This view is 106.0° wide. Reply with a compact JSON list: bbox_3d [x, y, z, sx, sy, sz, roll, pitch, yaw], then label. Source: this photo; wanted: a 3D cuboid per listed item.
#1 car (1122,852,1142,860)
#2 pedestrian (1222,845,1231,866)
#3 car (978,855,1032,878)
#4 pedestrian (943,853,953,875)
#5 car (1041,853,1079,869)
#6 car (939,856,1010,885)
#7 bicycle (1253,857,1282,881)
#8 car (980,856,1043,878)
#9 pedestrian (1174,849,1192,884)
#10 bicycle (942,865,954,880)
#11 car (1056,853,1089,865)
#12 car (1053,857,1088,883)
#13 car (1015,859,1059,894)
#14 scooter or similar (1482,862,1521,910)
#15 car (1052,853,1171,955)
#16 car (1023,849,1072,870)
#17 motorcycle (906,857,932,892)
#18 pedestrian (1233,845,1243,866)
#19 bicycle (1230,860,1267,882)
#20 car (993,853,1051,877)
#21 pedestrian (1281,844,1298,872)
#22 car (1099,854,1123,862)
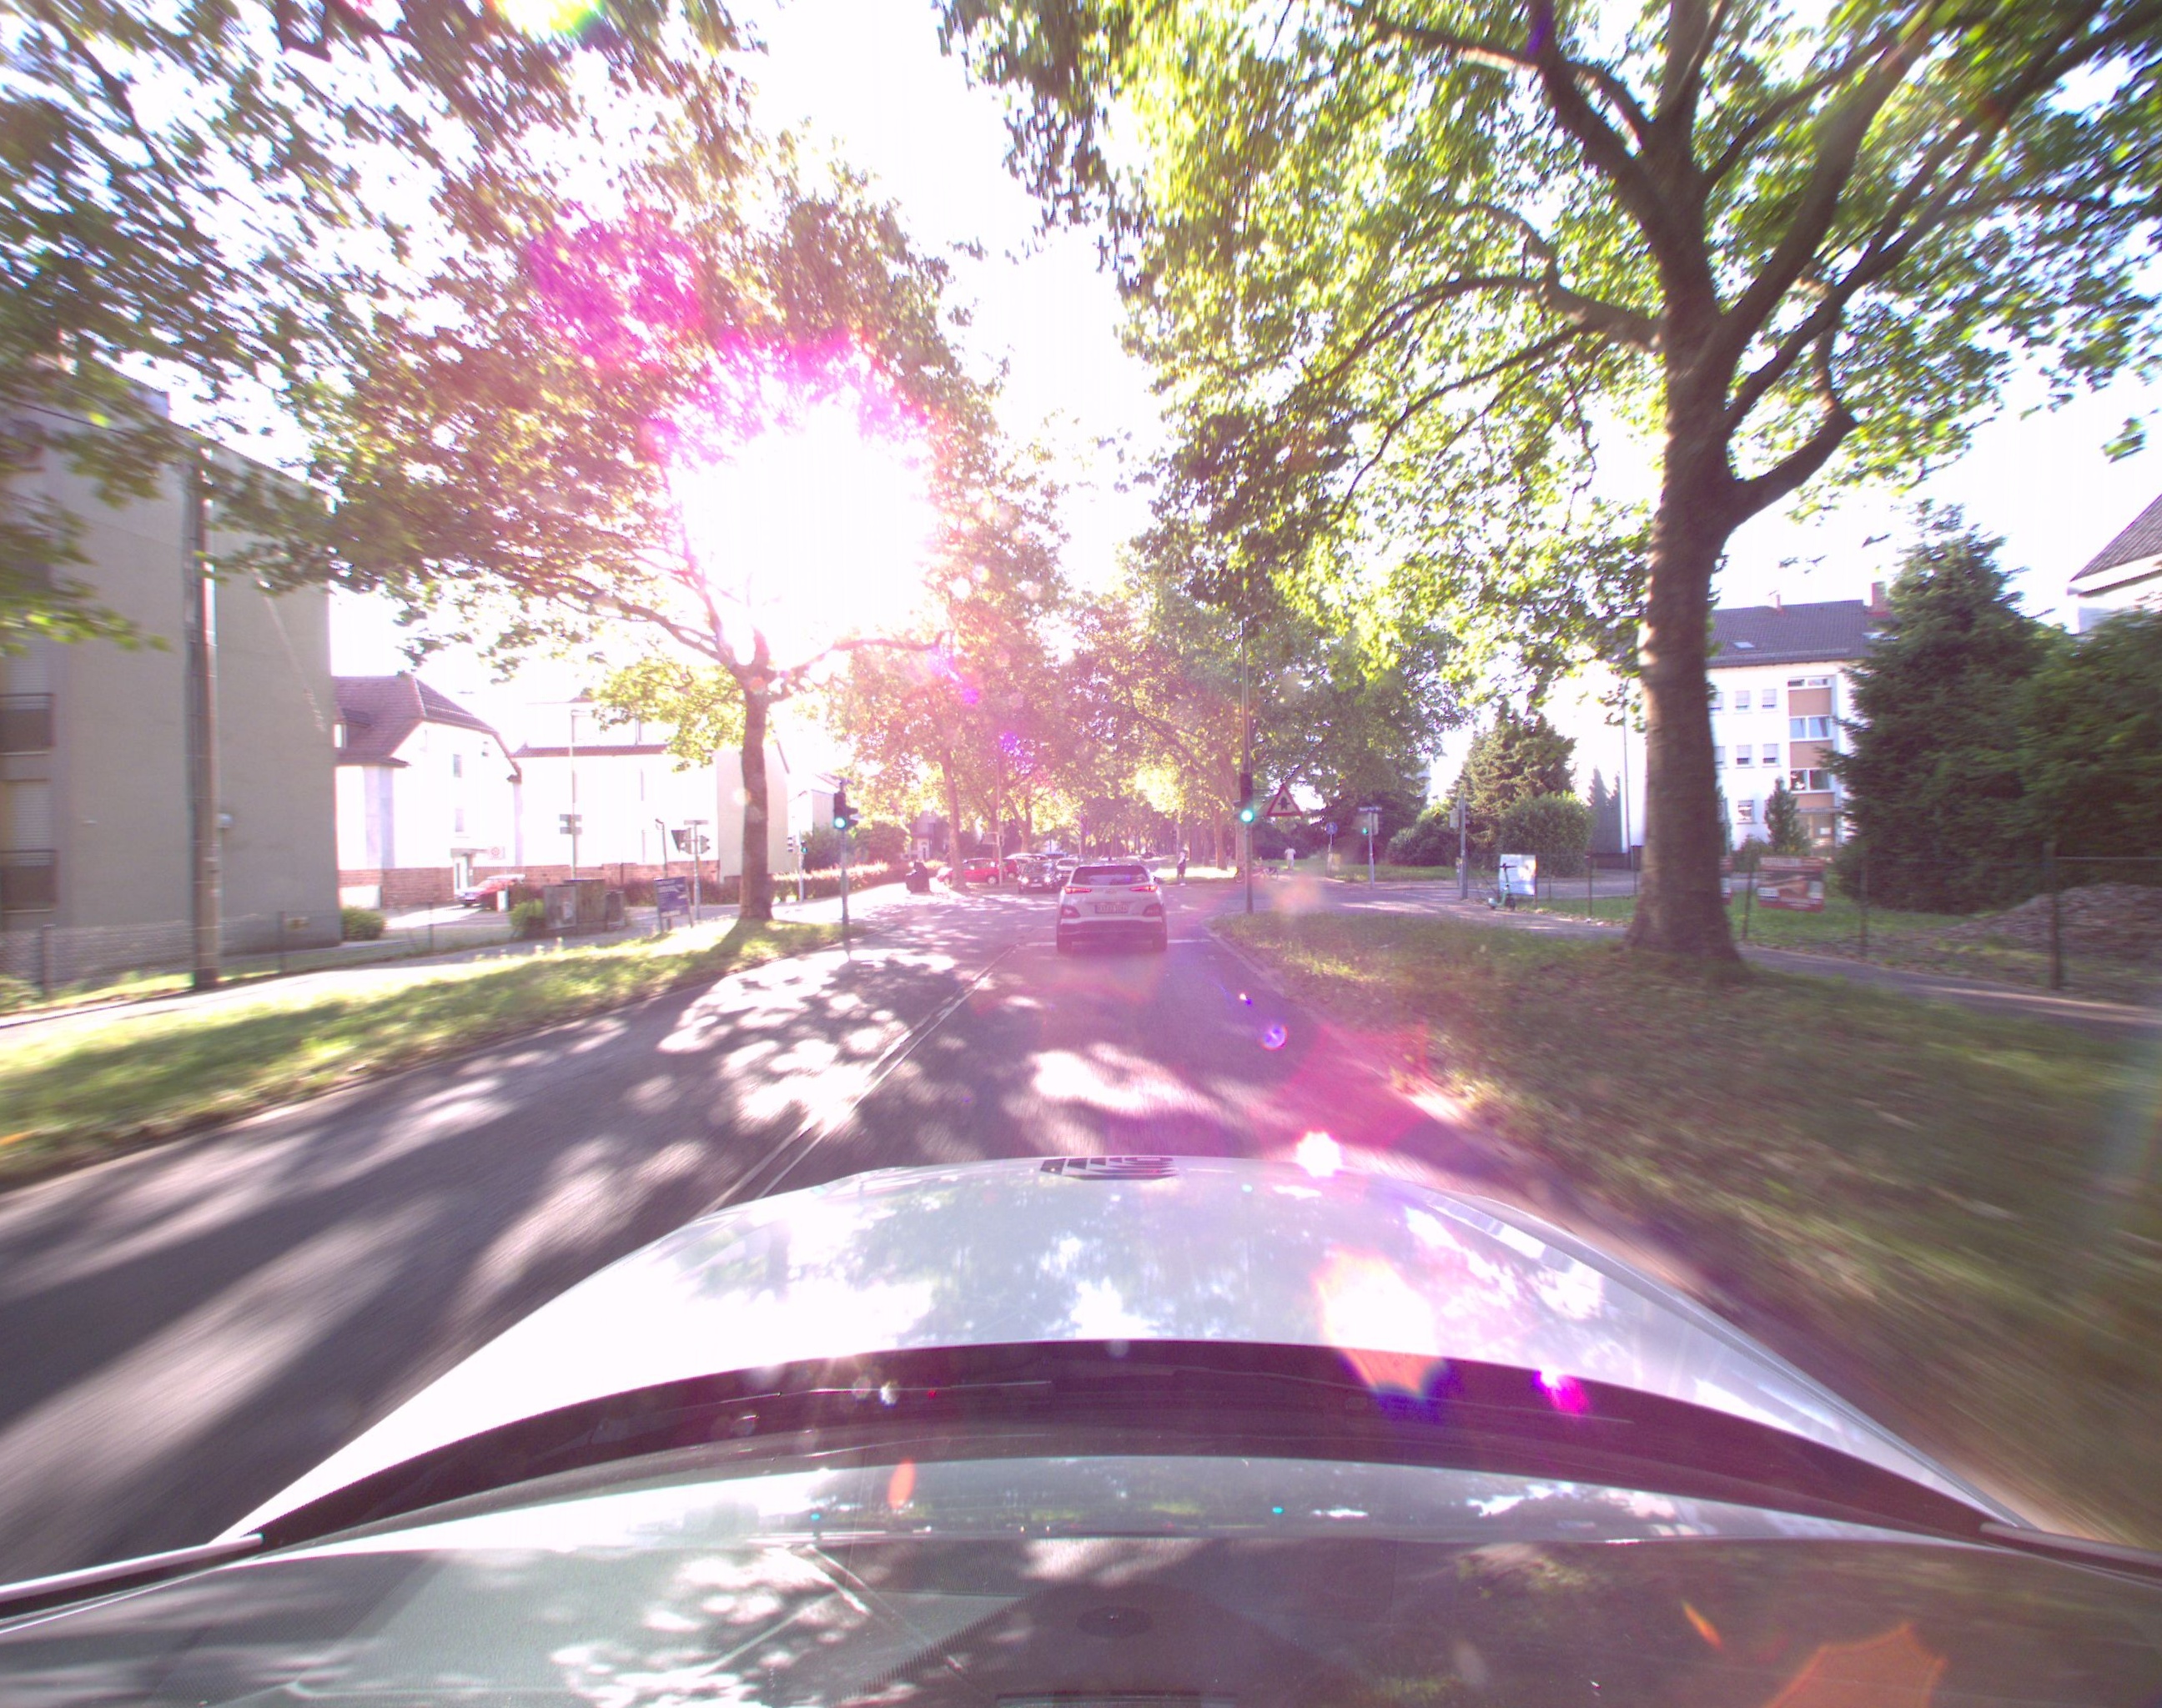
[{"bbox_3d":[11.058,0.467,175.095,4.162,1.584,2.003,-1,0,5],"label":"car"},{"bbox_3d":[12.782,0.156,71.537,0.757,1.846,0.789,-2,0,7],"label":"pedestrian"},{"bbox_3d":[-4.984,0.787,53.898,3.326,1.480,1.696,0,0,2],"label":"car"},{"bbox_3d":[-9.304,0.705,56.891,0.508,1.531,1.033,-2,-1,-2],"label":"pedestrian"},{"bbox_3d":[-2.204,0.754,86.250,3.855,1.518,1.666,-2,0,2],"label":"car"},{"bbox_3d":[-6.033,0.916,46.368,3.750,1.535,1.832,-1,0,1],"label":"car"},{"bbox_3d":[9.286,0.733,40.548,0.446,1.082,1.997,-4,2,-16],"label":"bicycle"},{"bbox_3d":[-4.743,0.881,55.948,4.145,1.501,1.876,-1,0,2],"label":"car"},{"bbox_3d":[5.177,0.638,41.398,0.633,1.719,0.825,-4,0,-4],"label":"pedestrian"},{"bbox_3d":[-9.281,1.283,56.926,0.507,1.042,2.152,-2,-1,-1],"label":"bicycle"},{"bbox_3d":[-1.051,0.605,99.813,3.972,1.518,1.819,-1,0,2],"label":"car"},{"bbox_3d":[-0.590,0.951,49.849,1.708,1.501,4.099,-1,0,4],"label":"car"},{"bbox_3d":[-1.947,0.977,37.286,1.720,1.464,4.068,-2,0,0],"label":"car"},{"bbox_3d":[10.859,0.810,21.067,0.381,1.196,1.255,0,0,2],"label":"scooter or similar"},{"bbox_3d":[0.540,0.803,14.804,1.828,1.555,4.001,-1,-1,2],"label":"car"},{"bbox_3d":[-3.117,0.502,76.133,4.368,1.824,1.997,-2,0,2],"label":"car"},{"bbox_3d":[-8.274,1.025,41.692,0.978,1.637,2.387,-2,2,-4],"label":"motorcycle"},{"bbox_3d":[13.757,0.103,71.418,0.750,1.847,0.804,-2,0,7],"label":"pedestrian"},{"bbox_3d":[8.177,0.838,39.709,1.698,1.035,0.449,-2,2,39],"label":"bicycle"},{"bbox_3d":[-4.427,0.830,61.085,4.074,1.716,1.833,-1,0,3],"label":"car"},{"bbox_3d":[12.567,0.238,49.090,0.776,1.649,0.939,-2,0,3],"label":"pedestrian"},{"bbox_3d":[5.057,0.614,137.274,3.804,1.316,1.794,0,0,8],"label":"car"}]
